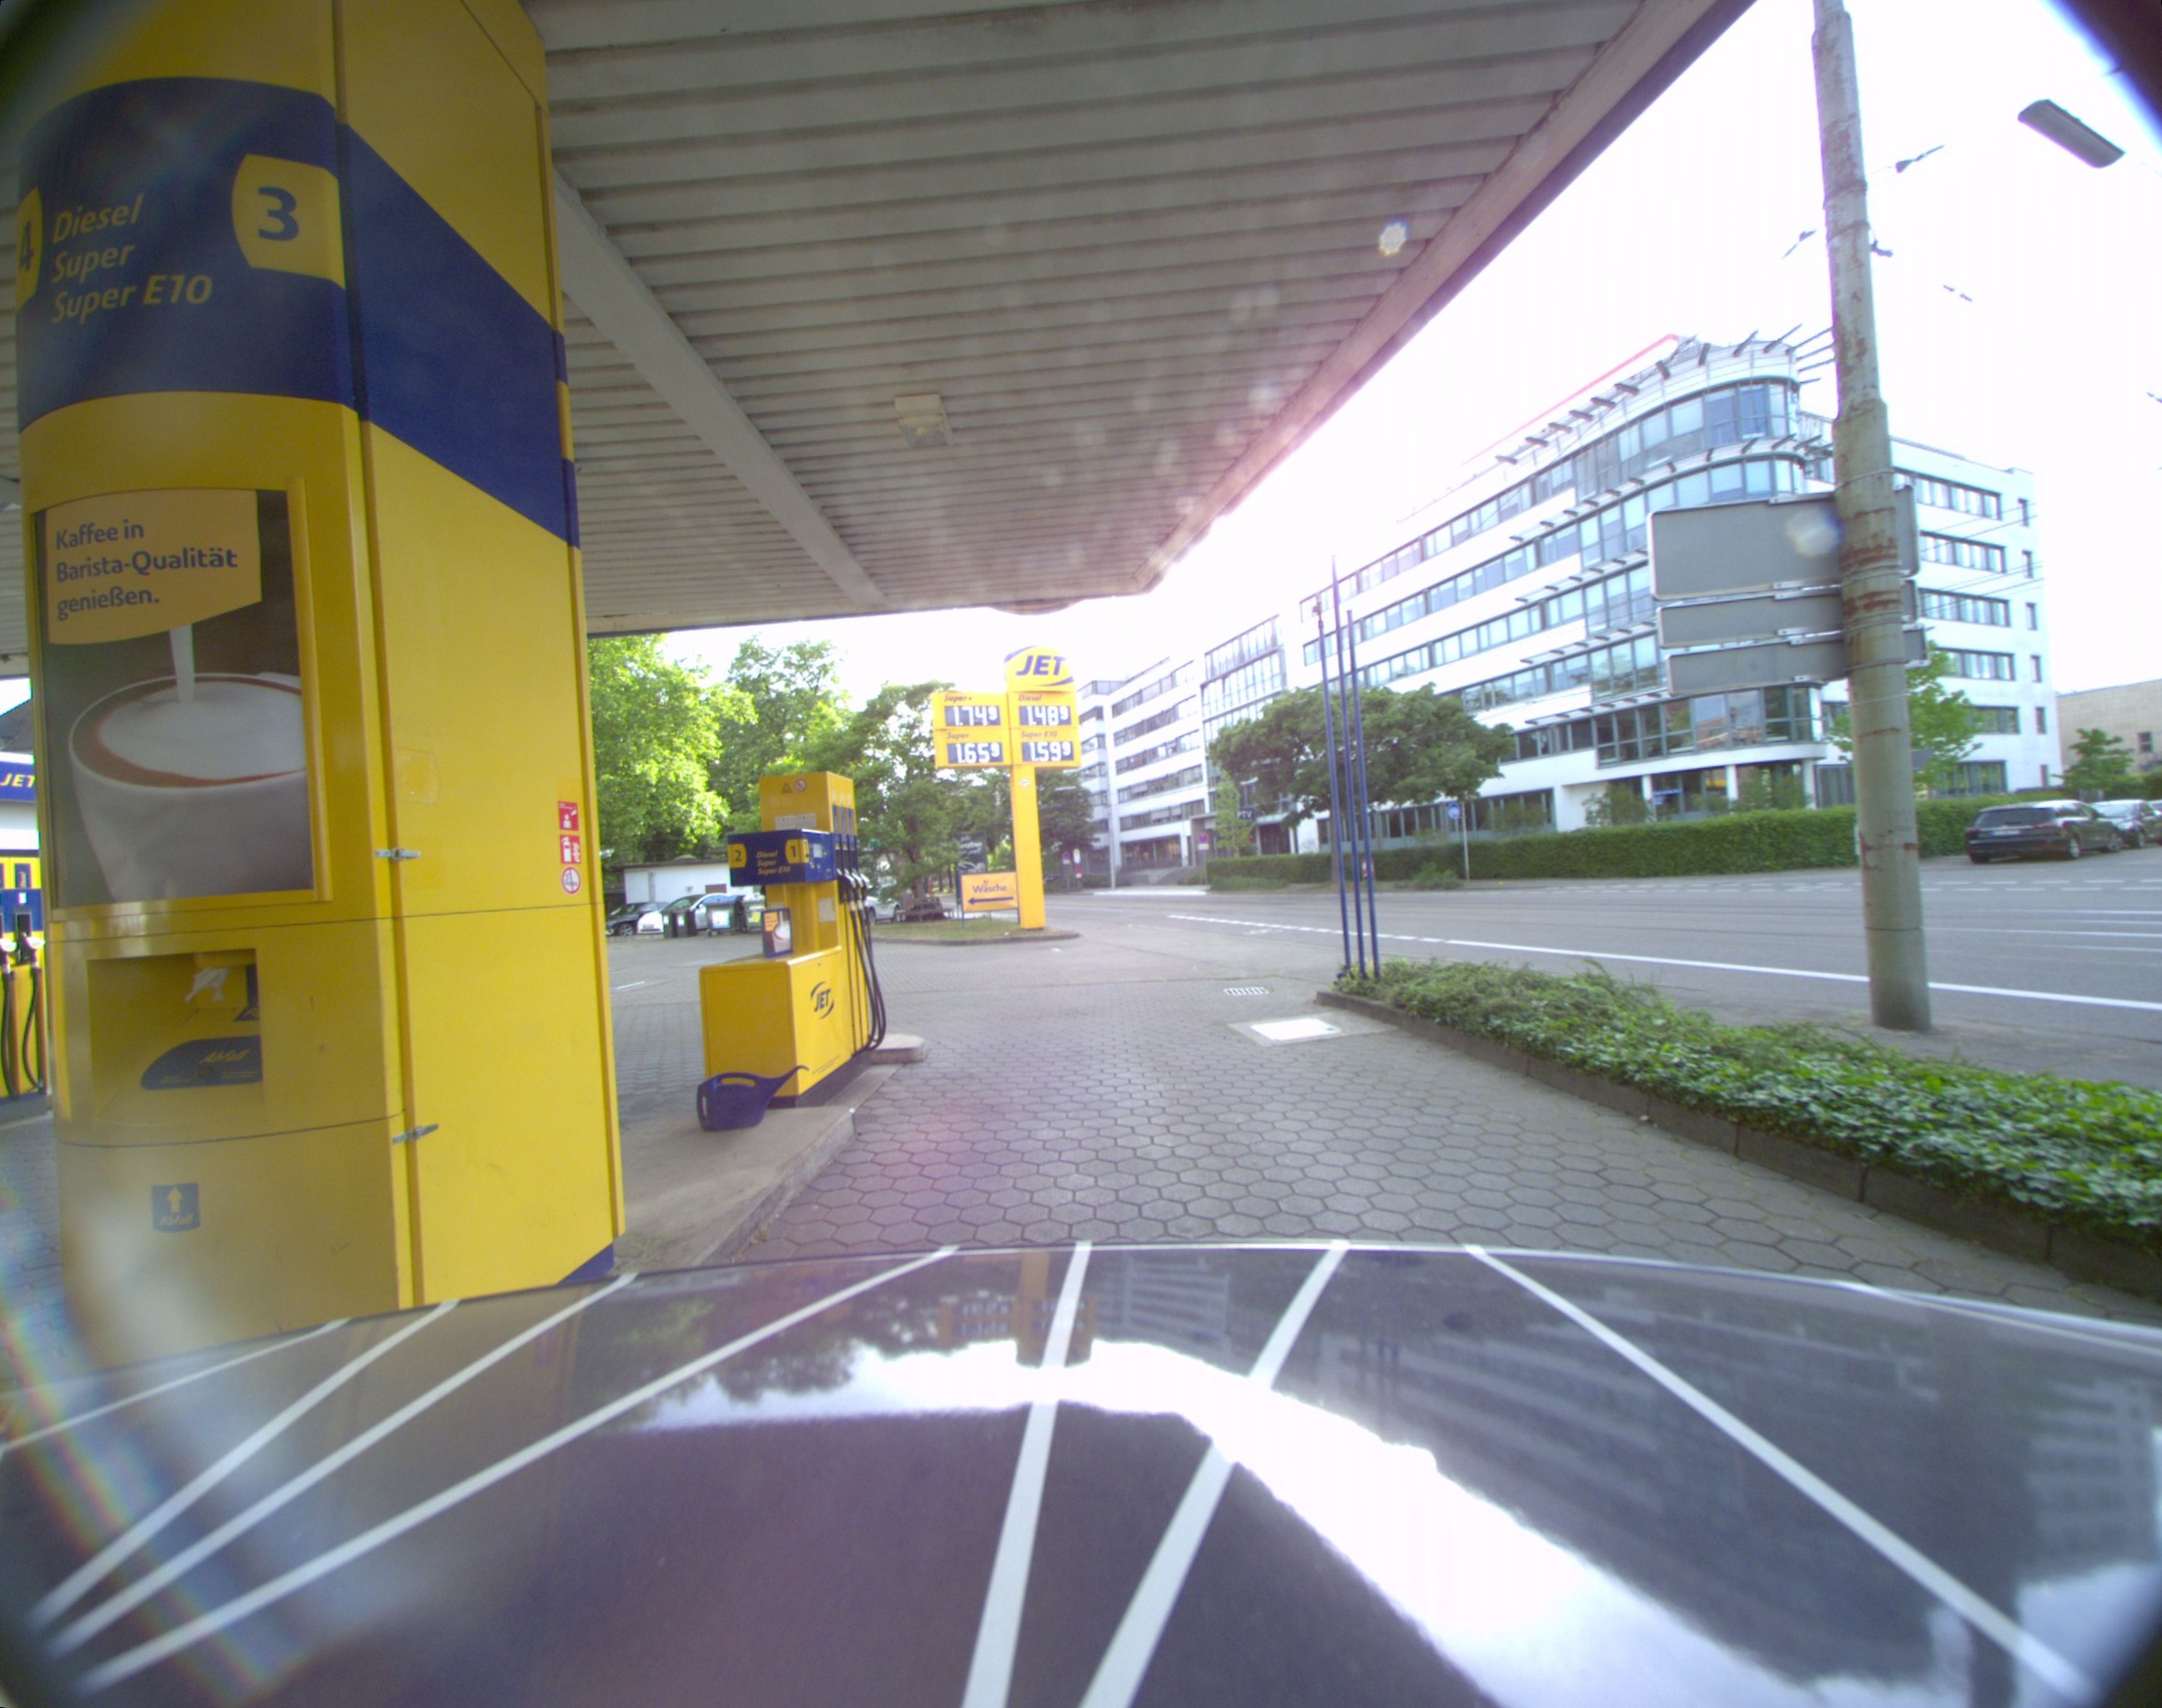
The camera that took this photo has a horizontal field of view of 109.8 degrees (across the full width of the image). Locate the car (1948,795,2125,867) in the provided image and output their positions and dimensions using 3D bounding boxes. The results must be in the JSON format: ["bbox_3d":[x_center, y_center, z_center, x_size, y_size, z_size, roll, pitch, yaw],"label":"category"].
[{"bbox_3d":[27.379,-0.652,21.774,4.438,1.603,1.976,-5,-1,-23],"label":"car"}]

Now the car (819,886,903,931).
[{"bbox_3d":[-8.683,2.120,30.385,1.739,1.500,4.003,-4,-2,6],"label":"car"}]

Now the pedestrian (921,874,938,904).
[{"bbox_3d":[-10.518,2.426,52.685,0.934,2.001,1.214,-2,-1,-20],"label":"pedestrian"}]

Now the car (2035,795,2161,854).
[{"bbox_3d":[32.494,-0.946,24.045,4.109,1.544,1.786,-4,-1,-23],"label":"car"}]

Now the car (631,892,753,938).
[{"bbox_3d":[-15.356,2.389,30.258,1.785,1.514,4.229,-4,-3,17],"label":"car"}]

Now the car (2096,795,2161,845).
[{"bbox_3d":[37.153,-1.242,26.083,4.109,1.544,1.786,-4,-1,-23],"label":"car"}]

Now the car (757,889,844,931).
[{"bbox_3d":[-11.798,2.327,32.246,1.739,1.500,4.004,-4,-2,6],"label":"car"}]

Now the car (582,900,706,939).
[{"bbox_3d":[-17.742,2.638,31.074,1.745,1.269,4.230,-5,-3,19],"label":"car"}]
